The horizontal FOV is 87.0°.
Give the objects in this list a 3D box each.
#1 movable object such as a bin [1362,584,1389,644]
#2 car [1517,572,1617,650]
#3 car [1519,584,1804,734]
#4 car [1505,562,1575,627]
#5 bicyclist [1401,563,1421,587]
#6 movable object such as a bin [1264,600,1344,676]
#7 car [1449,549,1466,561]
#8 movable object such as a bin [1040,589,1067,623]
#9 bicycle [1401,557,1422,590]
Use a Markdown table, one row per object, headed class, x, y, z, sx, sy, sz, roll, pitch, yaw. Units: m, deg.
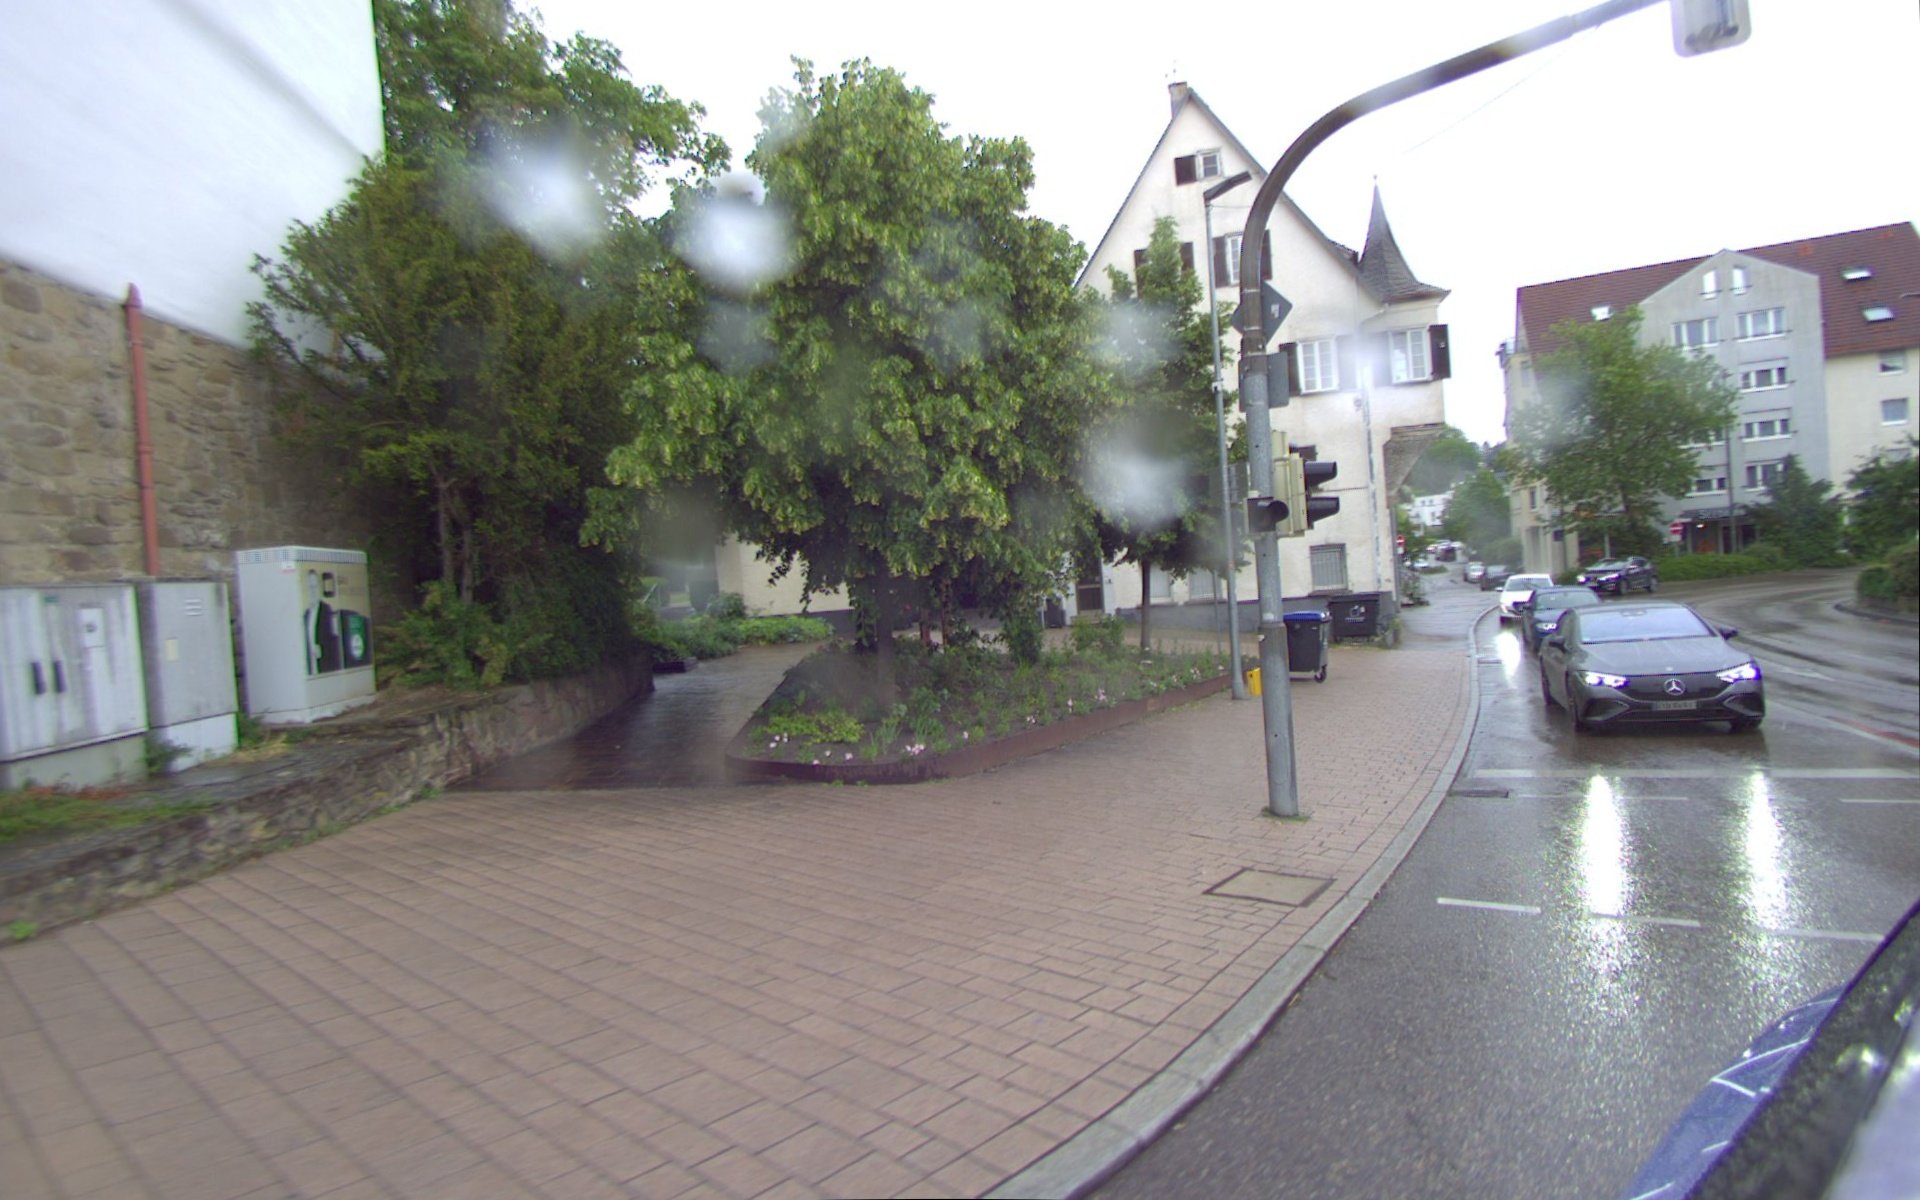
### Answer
| class | x | y | z | sx | sy | sz | roll | pitch | yaw |
| --- | --- | --- | --- | --- | --- | --- | --- | --- | --- |
| movable object such as a bin | 10.575 | 0.358 | 25.789 | 0.405 | 1.459 | 0.644 | -2 | 3 | 3 |
| car | 14.889 | 0.230 | 24.707 | 1.763 | 1.551 | 4.326 | -3 | 2 | 35 |
| car | 8.838 | 0.651 | 13.237 | 1.976 | 1.512 | 4.284 | -6 | -1 | 21 |
| car | 19.092 | -0.214 | 33.244 | 1.801 | 1.582 | 3.960 | -2 | 6 | 33 |
| bicyclist | 34.214 | -1.903 | 76.775 | 0.678 | 1.042 | 1.507 | 23 | -24 | 7 |
| movable object such as a bin | 6.630 | 0.721 | 19.497 | 1.149 | 1.329 | 1.173 | -3 | 1 | 33 |
| car | 74.309 | -6.736 | 151.056 | 1.983 | 1.593 | 3.958 | -3 | 0 | 30 |
| movable object such as a bin | 2.733 | 0.178 | 29.500 | 0.649 | 0.932 | 0.591 | -1 | 6 | 18 |
| bicycle | 34.348 | -2.035 | 76.986 | 0.756 | 2.105 | 1.027 | 22 | -23 | 9 |
